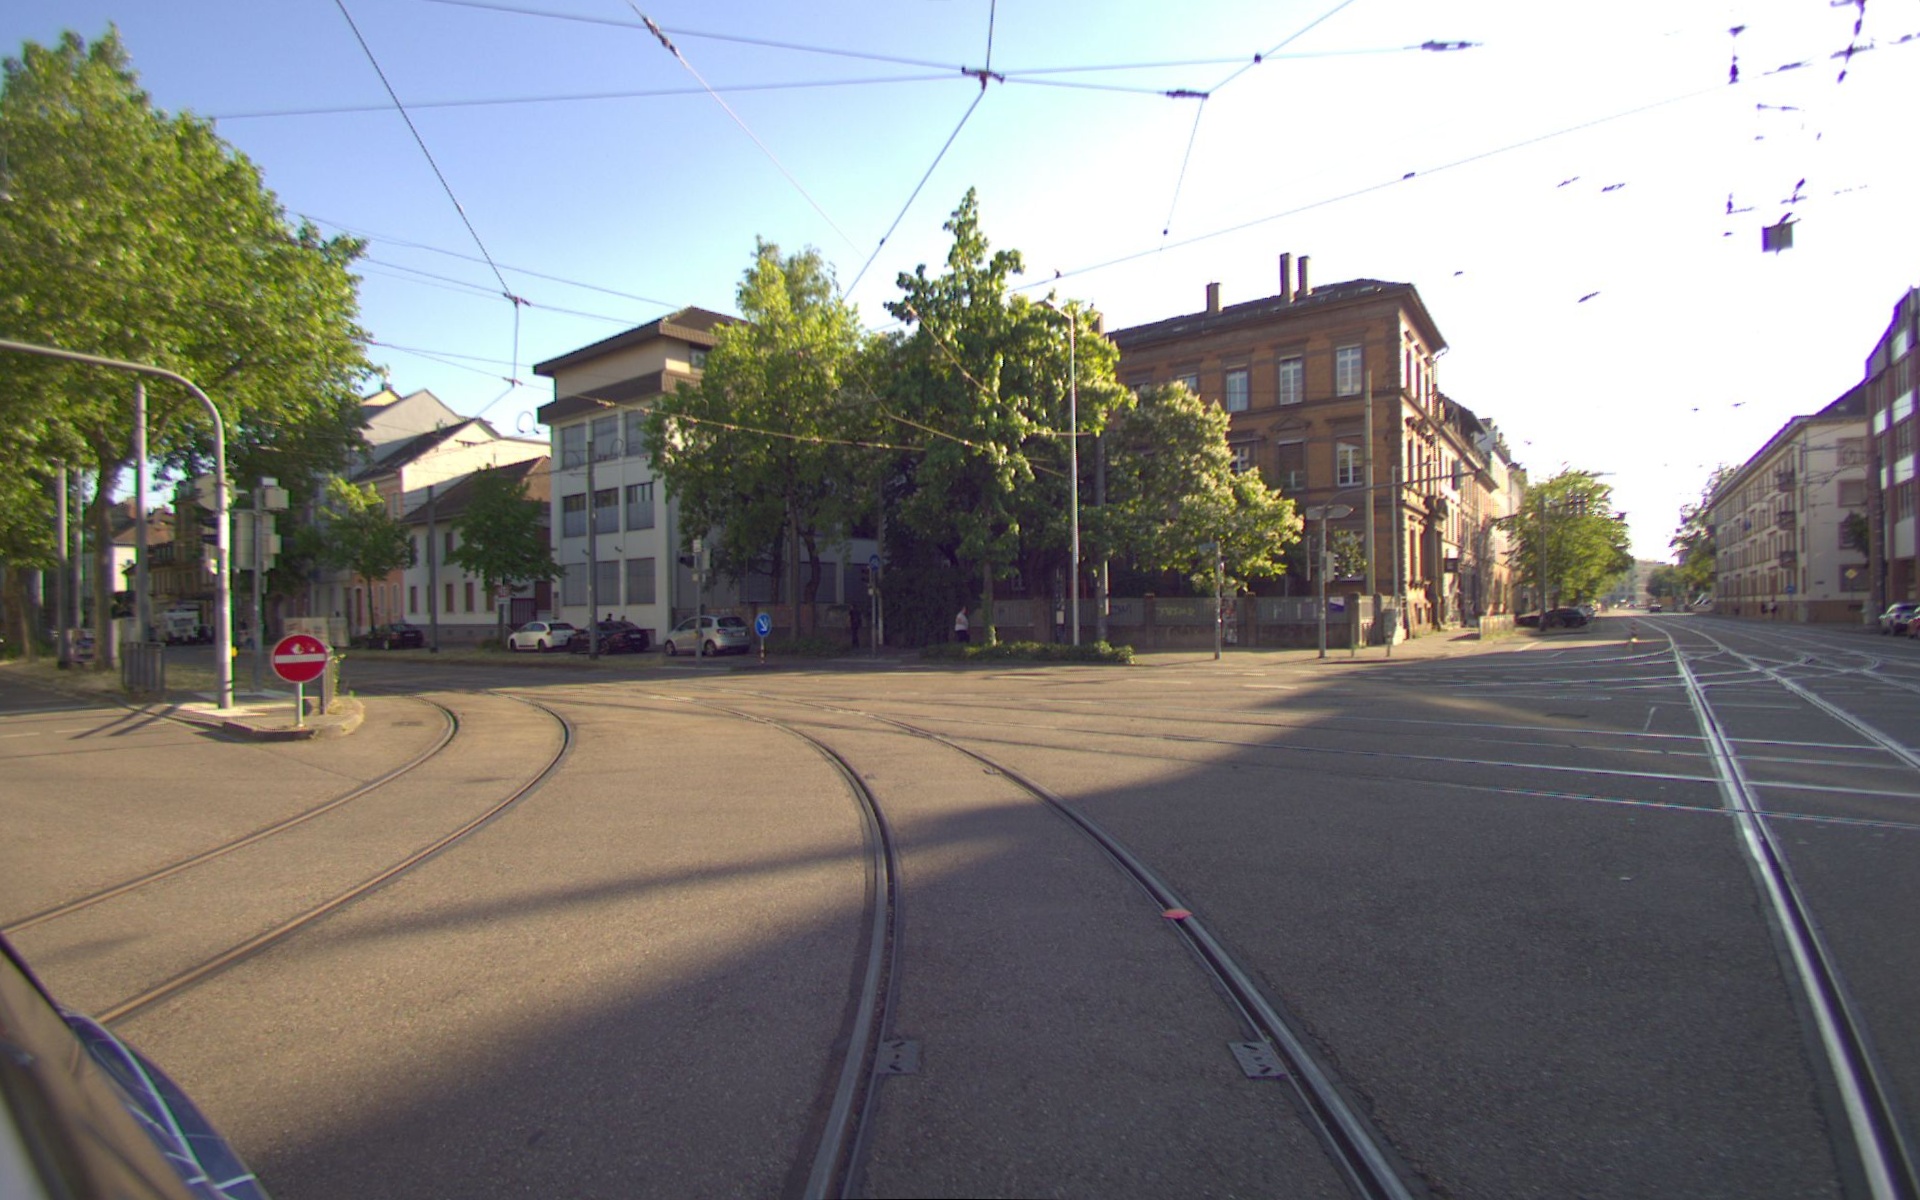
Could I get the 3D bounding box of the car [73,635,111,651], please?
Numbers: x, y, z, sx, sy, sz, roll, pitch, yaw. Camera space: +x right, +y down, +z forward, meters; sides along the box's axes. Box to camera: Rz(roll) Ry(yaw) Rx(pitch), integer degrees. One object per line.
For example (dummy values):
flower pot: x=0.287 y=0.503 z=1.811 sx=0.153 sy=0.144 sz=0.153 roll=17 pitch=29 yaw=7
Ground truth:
car: x=-92.293 y=4.585 z=107.536 sx=5.098 sy=1.551 sz=2.062 roll=-2 pitch=1 yaw=38

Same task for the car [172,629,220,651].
car: x=-64.185 y=3.368 z=84.975 sx=4.526 sy=1.686 sz=2.062 roll=-2 pitch=1 yaw=38

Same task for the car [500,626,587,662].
car: x=-19.611 y=2.062 z=47.631 sx=3.991 sy=1.501 sz=2.062 roll=-2 pitch=1 yaw=38

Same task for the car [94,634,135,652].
car: x=-82.543 y=4.176 z=98.791 sx=4.510 sy=1.551 sz=2.062 roll=-2 pitch=1 yaw=38

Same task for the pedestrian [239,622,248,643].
pedestrian: x=-62.088 y=2.814 z=87.681 sx=0.552 sy=1.823 sz=0.707 roll=0 pitch=-2 yaw=-31

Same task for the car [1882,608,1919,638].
car: x=44.836 y=1.067 z=47.736 sx=1.456 sy=1.343 sz=3.147 roll=-2 pitch=-1 yaw=33

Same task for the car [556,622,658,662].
car: x=-15.314 y=1.797 z=43.822 sx=4.451 sy=1.513 sz=2.062 roll=-2 pitch=1 yaw=38

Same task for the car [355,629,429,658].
car: x=-32.731 y=2.503 z=58.298 sx=4.573 sy=1.481 sz=2.062 roll=-2 pitch=1 yaw=38

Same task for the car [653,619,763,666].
car: x=-9.909 y=1.646 z=39.734 sx=4.092 sy=1.631 sz=2.062 roll=-2 pitch=1 yaw=38

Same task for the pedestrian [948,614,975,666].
pedestrian: x=0.057 y=1.335 z=33.884 sx=0.631 sy=1.677 sz=0.562 roll=-2 pitch=1 yaw=38

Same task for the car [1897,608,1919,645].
car: x=42.301 y=1.100 z=43.629 sx=1.994 sy=1.567 sz=4.533 roll=-2 pitch=-1 yaw=33

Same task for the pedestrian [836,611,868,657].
pedestrian: x=-4.168 y=1.305 z=38.986 sx=1.018 sy=1.765 sz=0.727 roll=-2 pitch=-2 yaw=38

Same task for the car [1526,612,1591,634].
car: x=43.873 y=1.688 z=74.232 sx=3.987 sy=1.586 sz=1.978 roll=-2 pitch=-1 yaw=32

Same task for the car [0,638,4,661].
car: x=-77.880 y=3.977 z=80.737 sx=3.997 sy=1.785 sz=1.973 roll=-2 pitch=0 yaw=41

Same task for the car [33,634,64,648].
car: x=-111.251 y=5.002 z=123.531 sx=4.250 sy=1.551 sz=2.062 roll=-2 pitch=1 yaw=38
